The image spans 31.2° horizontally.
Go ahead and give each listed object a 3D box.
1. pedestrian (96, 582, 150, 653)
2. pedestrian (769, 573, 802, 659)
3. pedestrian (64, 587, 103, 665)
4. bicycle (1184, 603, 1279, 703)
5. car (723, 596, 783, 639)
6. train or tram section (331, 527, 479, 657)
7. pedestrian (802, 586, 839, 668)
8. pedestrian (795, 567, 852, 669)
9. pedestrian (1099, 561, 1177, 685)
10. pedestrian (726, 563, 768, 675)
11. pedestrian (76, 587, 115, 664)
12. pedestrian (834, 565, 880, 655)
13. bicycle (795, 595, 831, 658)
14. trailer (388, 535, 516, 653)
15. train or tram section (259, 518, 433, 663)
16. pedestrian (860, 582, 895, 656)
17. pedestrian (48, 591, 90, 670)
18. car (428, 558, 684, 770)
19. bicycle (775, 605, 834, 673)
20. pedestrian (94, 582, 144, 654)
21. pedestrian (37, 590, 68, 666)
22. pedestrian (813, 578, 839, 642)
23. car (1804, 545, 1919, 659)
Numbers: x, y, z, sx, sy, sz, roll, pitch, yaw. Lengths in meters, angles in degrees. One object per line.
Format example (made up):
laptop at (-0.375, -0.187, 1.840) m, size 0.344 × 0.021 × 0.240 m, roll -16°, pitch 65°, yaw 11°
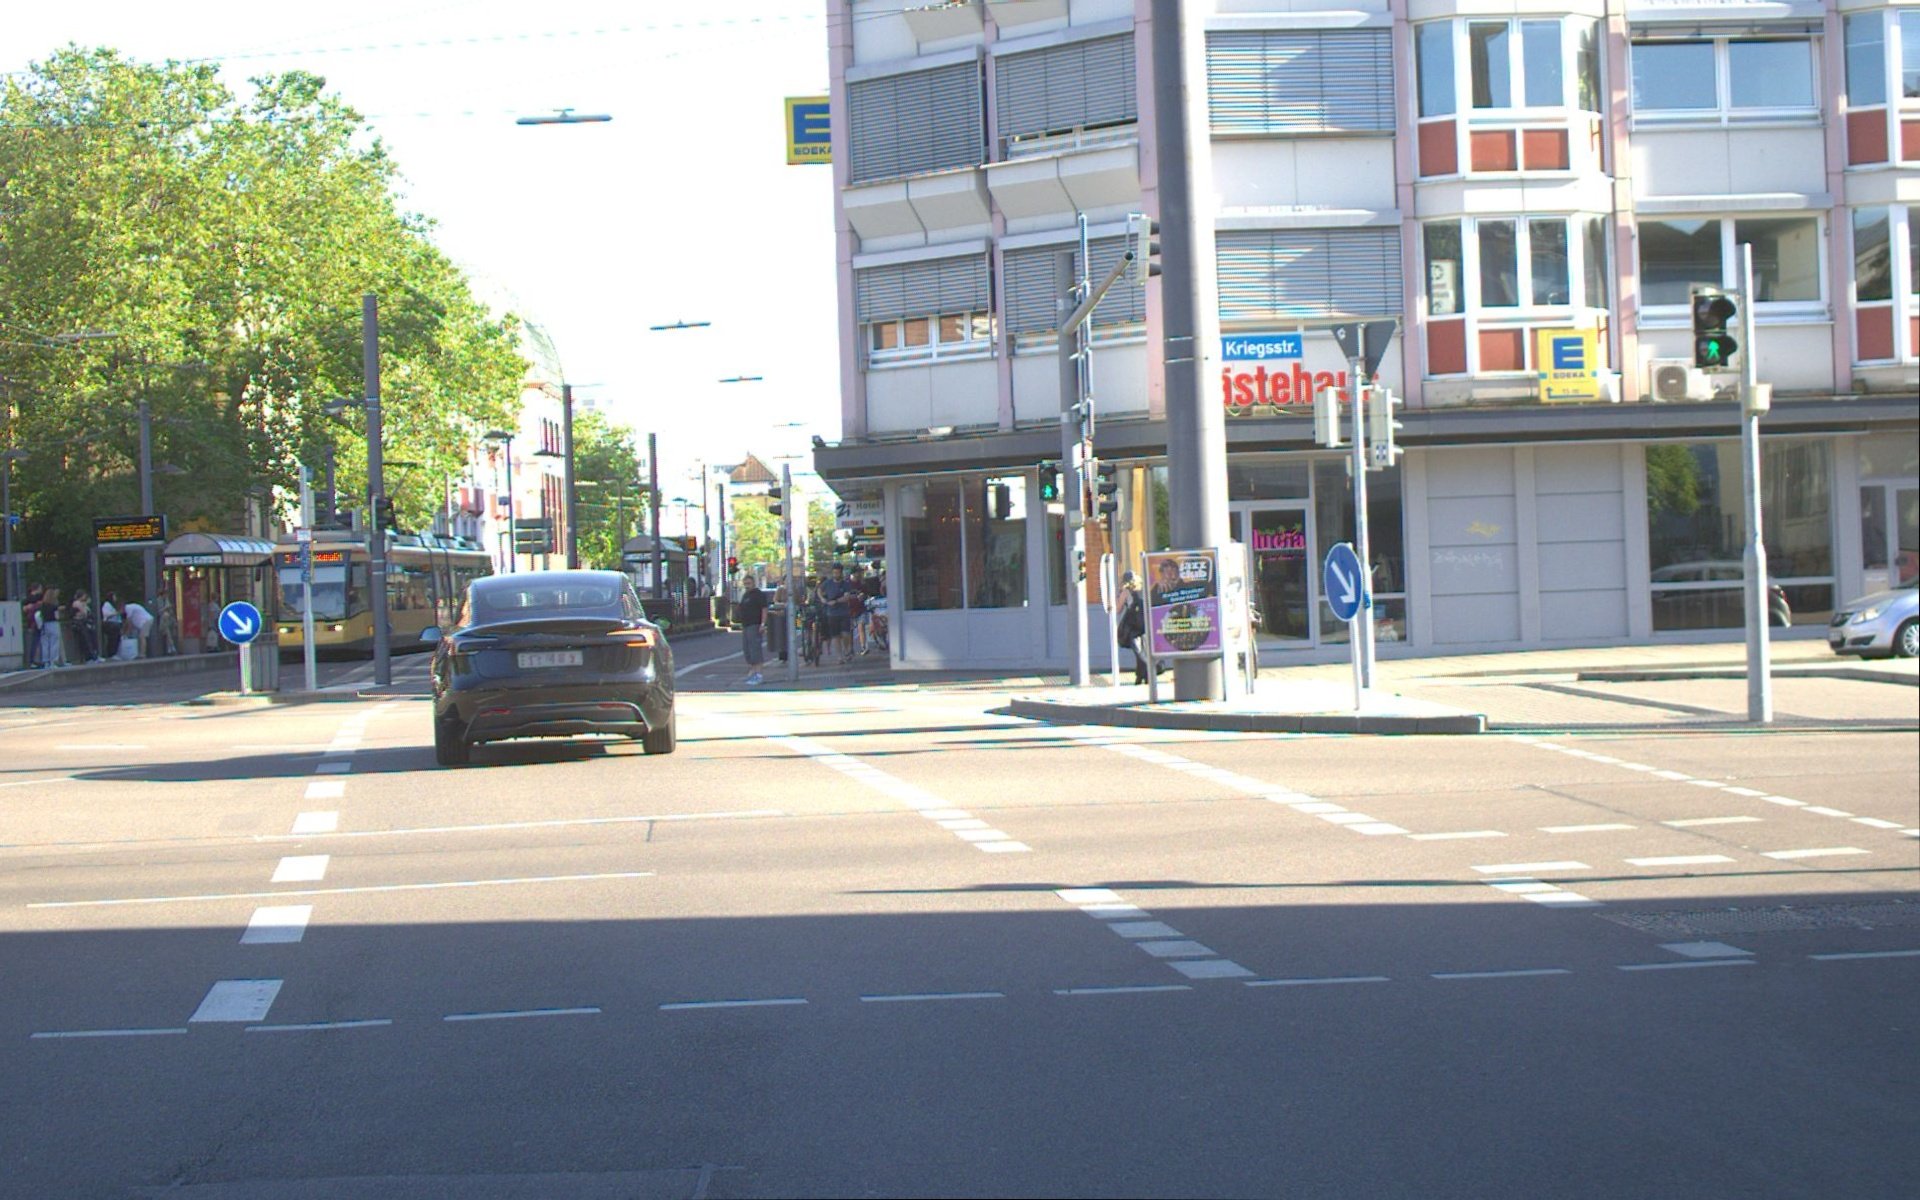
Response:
pedestrian at (-19.464, 0.406, 79.935) m, size 1.105 × 1.619 × 0.848 m, roll -2°, pitch 0°, yaw -9°
pedestrian at (-3.193, 0.291, 62.785) m, size 0.471 × 1.557 × 0.545 m, roll -1°, pitch 0°, yaw -13°
pedestrian at (-19.649, 0.583, 77.080) m, size 0.635 × 1.715 × 0.585 m, roll -2°, pitch 0°, yaw 8°
bicycle at (3.583, 0.692, 45.447) m, size 0.543 × 1.280 × 1.908 m, roll -1°, pitch 0°, yaw -17°
car at (-8.149, 0.686, 135.534) m, size 1.737 × 1.659 × 3.708 m, roll -2°, pitch 0°, yaw 6°
train or tram section at (-16.108, -0.208, 100.498) m, size 2.713 × 3.534 × 10.169 m, roll -2°, pitch 0°, yaw -1°
pedestrian at (-2.886, 0.561, 71.230) m, size 0.696 × 1.672 × 0.750 m, roll -2°, pitch 0°, yaw 0°
pedestrian at (-2.402, 0.319, 60.473) m, size 0.914 × 1.748 × 0.839 m, roll -2°, pitch 0°, yaw 1°
pedestrian at (2.298, 0.287, 44.477) m, size 0.779 × 1.571 × 0.868 m, roll -1°, pitch 1°, yaw -13°
pedestrian at (-3.416, 0.306, 55.137) m, size 0.626 × 1.776 × 0.918 m, roll -2°, pitch 0°, yaw -4°
pedestrian at (-19.539, 0.574, 77.712) m, size 0.635 × 1.715 × 0.609 m, roll -2°, pitch 0°, yaw 8°
pedestrian at (-1.950, 0.189, 65.092) m, size 0.686 × 1.683 × 0.671 m, roll -1°, pitch 0°, yaw -15°
bicycle at (-2.680, 0.478, 62.368) m, size 0.488 × 1.098 × 2.125 m, roll -2°, pitch 0°, yaw -6°
trailer at (-16.207, -0.164, 110.270) m, size 2.713 × 3.534 × 9.358 m, roll -2°, pitch 0°, yaw -1°
train or tram section at (-16.019, -0.217, 90.374) m, size 2.729 × 3.530 × 10.086 m, roll -2°, pitch 0°, yaw 0°
pedestrian at (-1.901, 0.439, 79.626) m, size 0.747 × 1.672 × 0.699 m, roll -2°, pitch 0°, yaw 0°
pedestrian at (-19.412, 0.662, 74.893) m, size 0.585 × 1.715 × 0.636 m, roll -2°, pitch -1°, yaw 41°
car at (-3.204, 0.444, 27.246) m, size 1.790 × 1.446 × 3.940 m, roll -3°, pitch 1°, yaw -7°
bicycle at (-2.724, 0.678, 60.124) m, size 0.488 × 1.157 × 1.974 m, roll -1°, pitch 0°, yaw -18°
pedestrian at (-19.318, 0.412, 78.995) m, size 0.999 × 1.619 × 0.848 m, roll -2°, pitch 0°, yaw -9°
pedestrian at (-18.534, 0.577, 70.201) m, size 0.583 × 1.525 × 0.637 m, roll -1°, pitch 0°, yaw -15°
pedestrian at (-3.982, 0.299, 101.885) m, size 0.696 × 1.890 × 0.750 m, roll -2°, pitch 0°, yaw 0°
car at (13.500, -0.014, 46.035) m, size 3.840 × 1.427 × 1.803 m, roll -2°, pitch -2°, yaw -3°
